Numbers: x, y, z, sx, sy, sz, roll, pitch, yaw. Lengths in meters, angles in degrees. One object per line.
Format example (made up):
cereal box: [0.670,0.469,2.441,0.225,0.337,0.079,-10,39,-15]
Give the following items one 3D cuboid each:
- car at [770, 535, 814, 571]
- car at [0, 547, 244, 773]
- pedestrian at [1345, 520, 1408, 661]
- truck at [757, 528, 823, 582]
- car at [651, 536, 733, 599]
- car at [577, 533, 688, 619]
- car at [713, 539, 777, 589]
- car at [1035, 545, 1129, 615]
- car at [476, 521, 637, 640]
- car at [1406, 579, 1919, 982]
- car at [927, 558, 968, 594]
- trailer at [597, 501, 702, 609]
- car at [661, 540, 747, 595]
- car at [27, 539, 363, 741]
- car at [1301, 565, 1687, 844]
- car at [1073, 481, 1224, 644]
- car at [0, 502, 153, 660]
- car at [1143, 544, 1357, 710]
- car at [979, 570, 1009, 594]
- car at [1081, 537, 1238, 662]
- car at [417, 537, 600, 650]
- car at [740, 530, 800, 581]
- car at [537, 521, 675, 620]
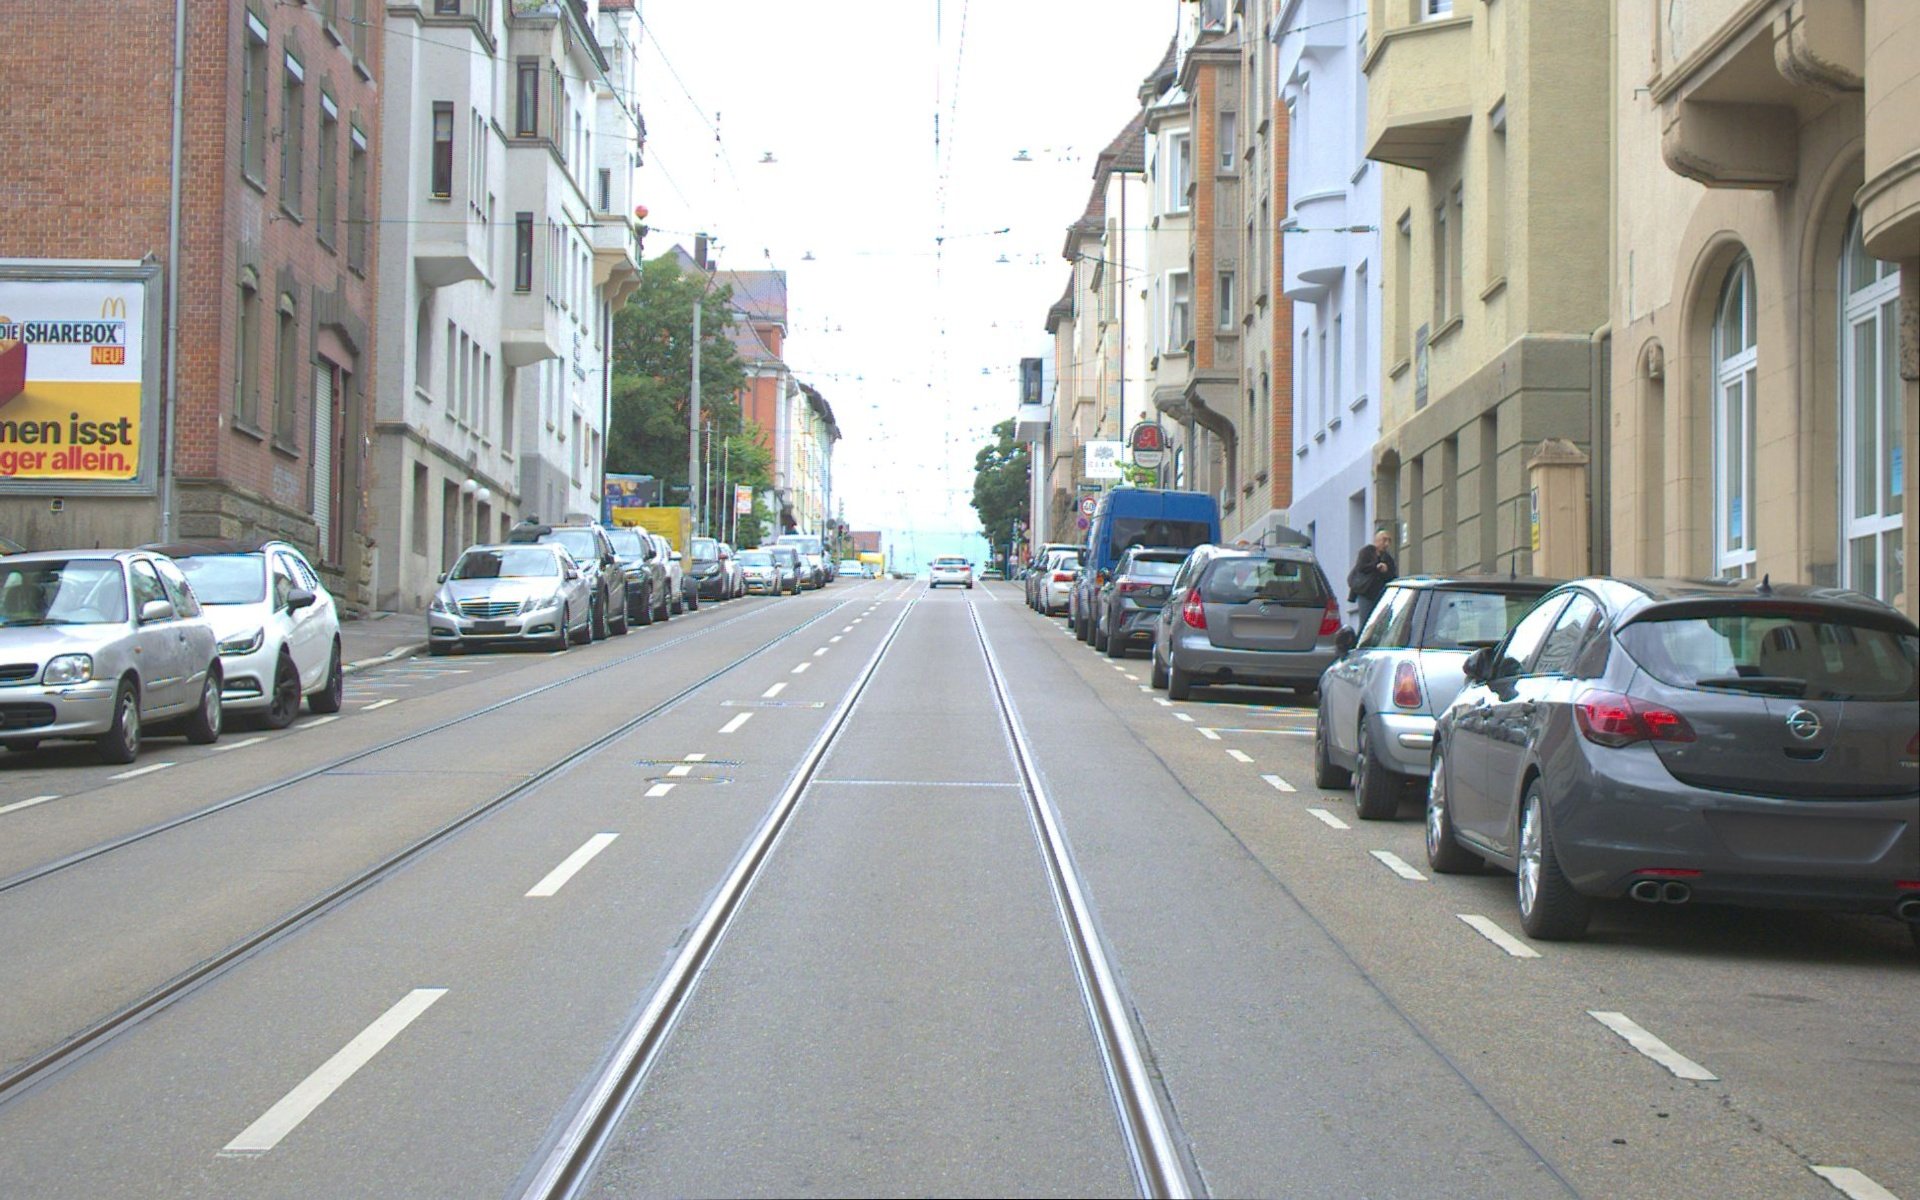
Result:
car: [-6.855,-1.912,140.370,1.697,1.428,4.482,-1,1,-2]
car: [-6.147,0.368,23.523,1.600,1.363,3.807,-3,1,1]
pedestrian: [5.065,-0.111,41.850,0.540,1.676,0.516,-3,-2,-8]
truck: [-7.233,-1.912,147.158,2.280,2.180,8.025,1,1,1]
car: [-6.447,-0.778,83.041,1.697,1.463,3.023,-1,1,0]
car: [-6.373,-0.491,67.215,1.697,1.588,4.268,-1,1,0]
car: [-6.915,-1.162,110.826,1.697,1.550,3.850,1,1,1]
car: [2.642,-0.451,75.309,1.750,1.386,4.308,3,1,-1]
car: [-6.153,-0.334,52.855,1.827,1.712,4.913,-1,1,0]
car: [3.119,0.657,14.557,1.839,1.398,4.167,3,0,0]
car: [-0.555,-1.064,149.003,1.672,1.508,3.798,1,1,-1]
trailer: [-6.417,-0.950,71.377,1.748,2.148,4.071,-1,1,0]
car: [-6.533,-0.843,88.103,1.780,1.353,4.291,1,1,1]
car: [-6.155,0.257,28.168,1.827,1.424,4.628,-3,1,-2]
car: [3.103,0.553,20.658,1.695,1.399,3.667,3,1,0]
car: [2.878,-0.564,53.393,1.993,2.368,5.056,1,0,0]
car: [-12.433,-0.203,41.014,5.173,1.812,1.941,-1,1,-4]
car: [2.947,0.232,35.703,1.827,1.513,4.028,3,1,0]
car: [2.310,-1.256,233.294,1.993,1.558,4.290,1,1,0]
car: [2.736,-0.032,47.986,1.779,1.525,4.192,4,1,-1]
car: [-6.162,-0.134,47.384,1.827,1.424,4.839,-1,1,0]
car: [-6.739,-1.578,122.232,1.744,1.730,4.519,-1,1,1]
car: [-6.233,-0.552,61.059,1.873,1.658,4.892,-1,1,0]
